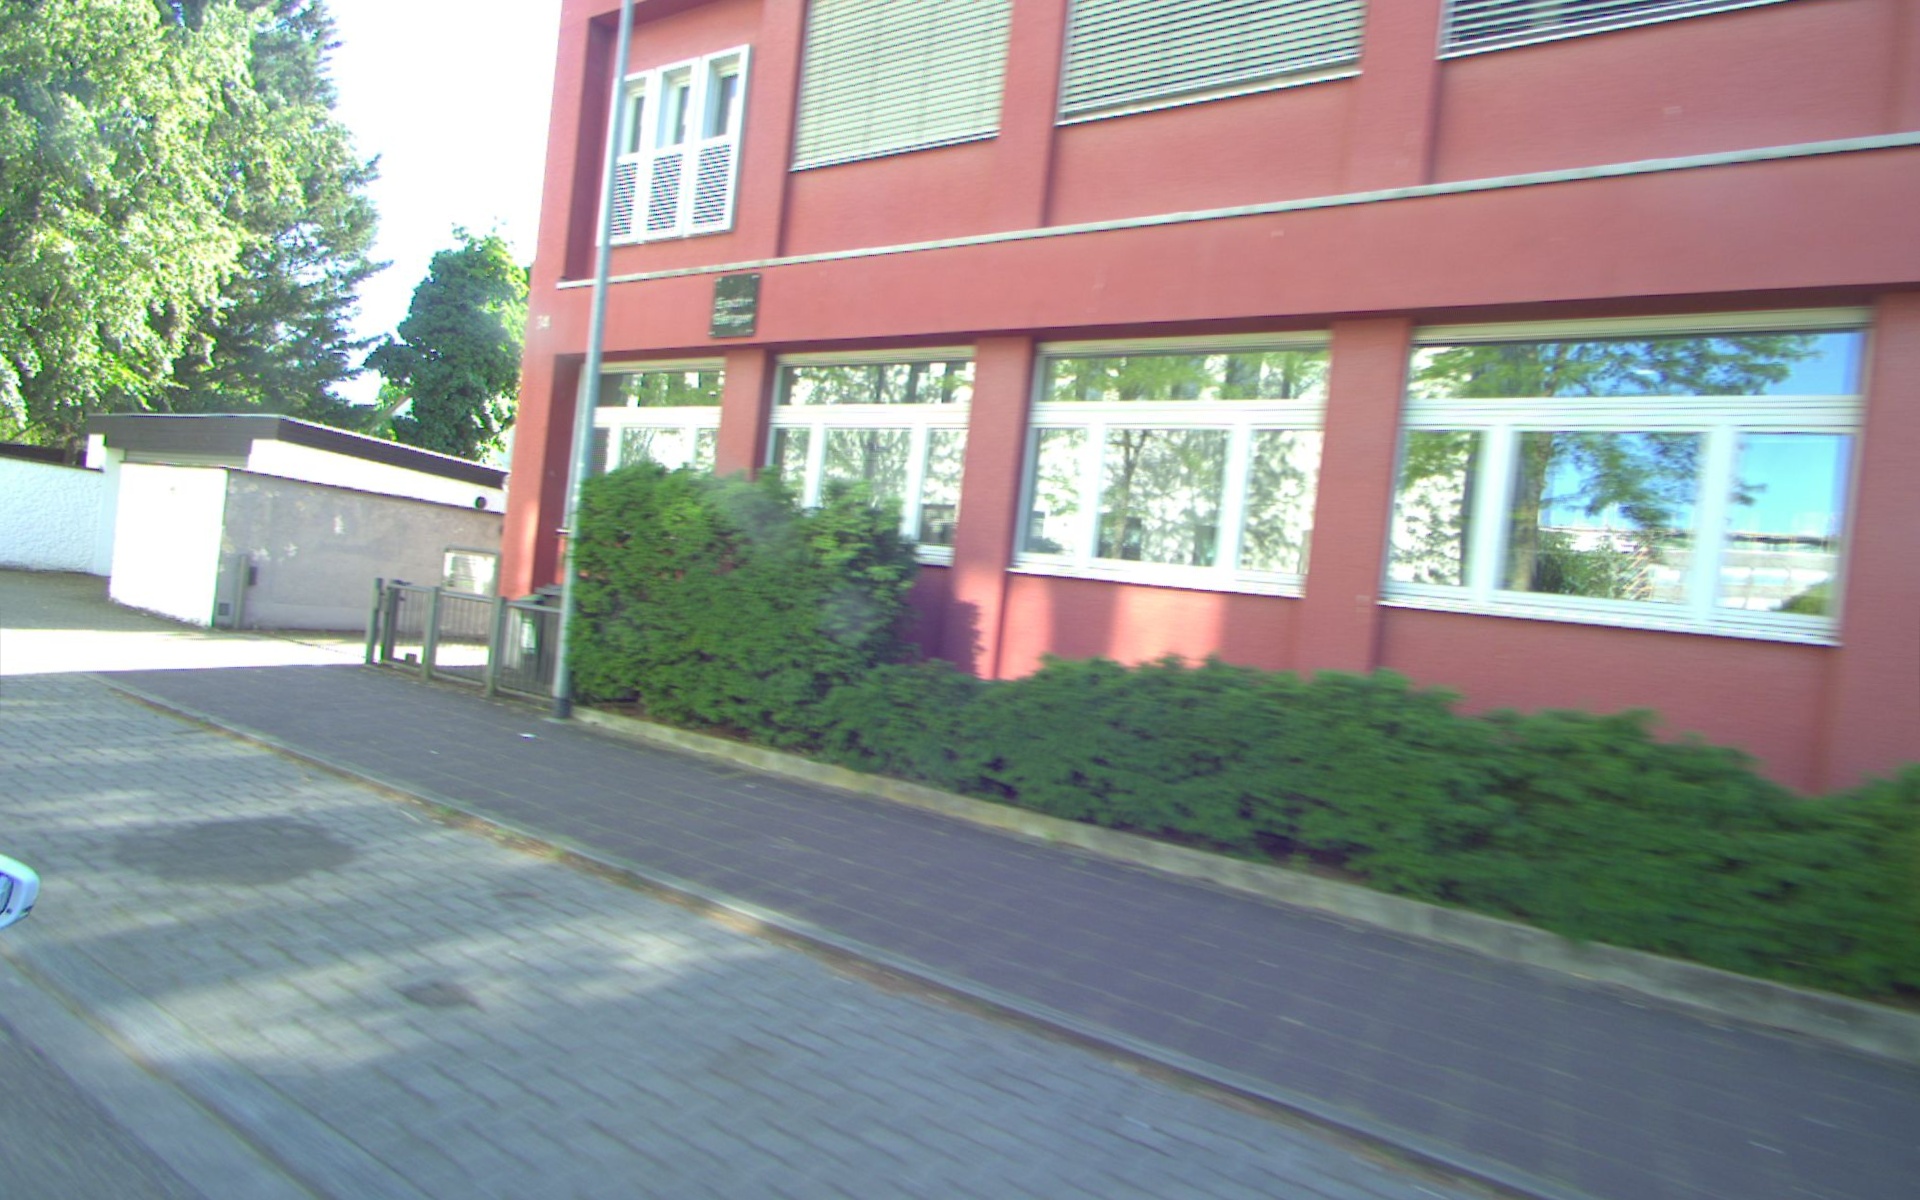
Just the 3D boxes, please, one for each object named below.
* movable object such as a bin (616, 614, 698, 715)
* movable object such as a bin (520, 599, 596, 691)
[{"bbox_3d":[-2.954,0.634,9.806,0.467,0.911,0.477,7,-1,33],"label":"movable object such as a bin"},{"bbox_3d":[-4.299,0.486,10.763,0.467,0.911,0.477,7,-1,33],"label":"movable object such as a bin"}]
